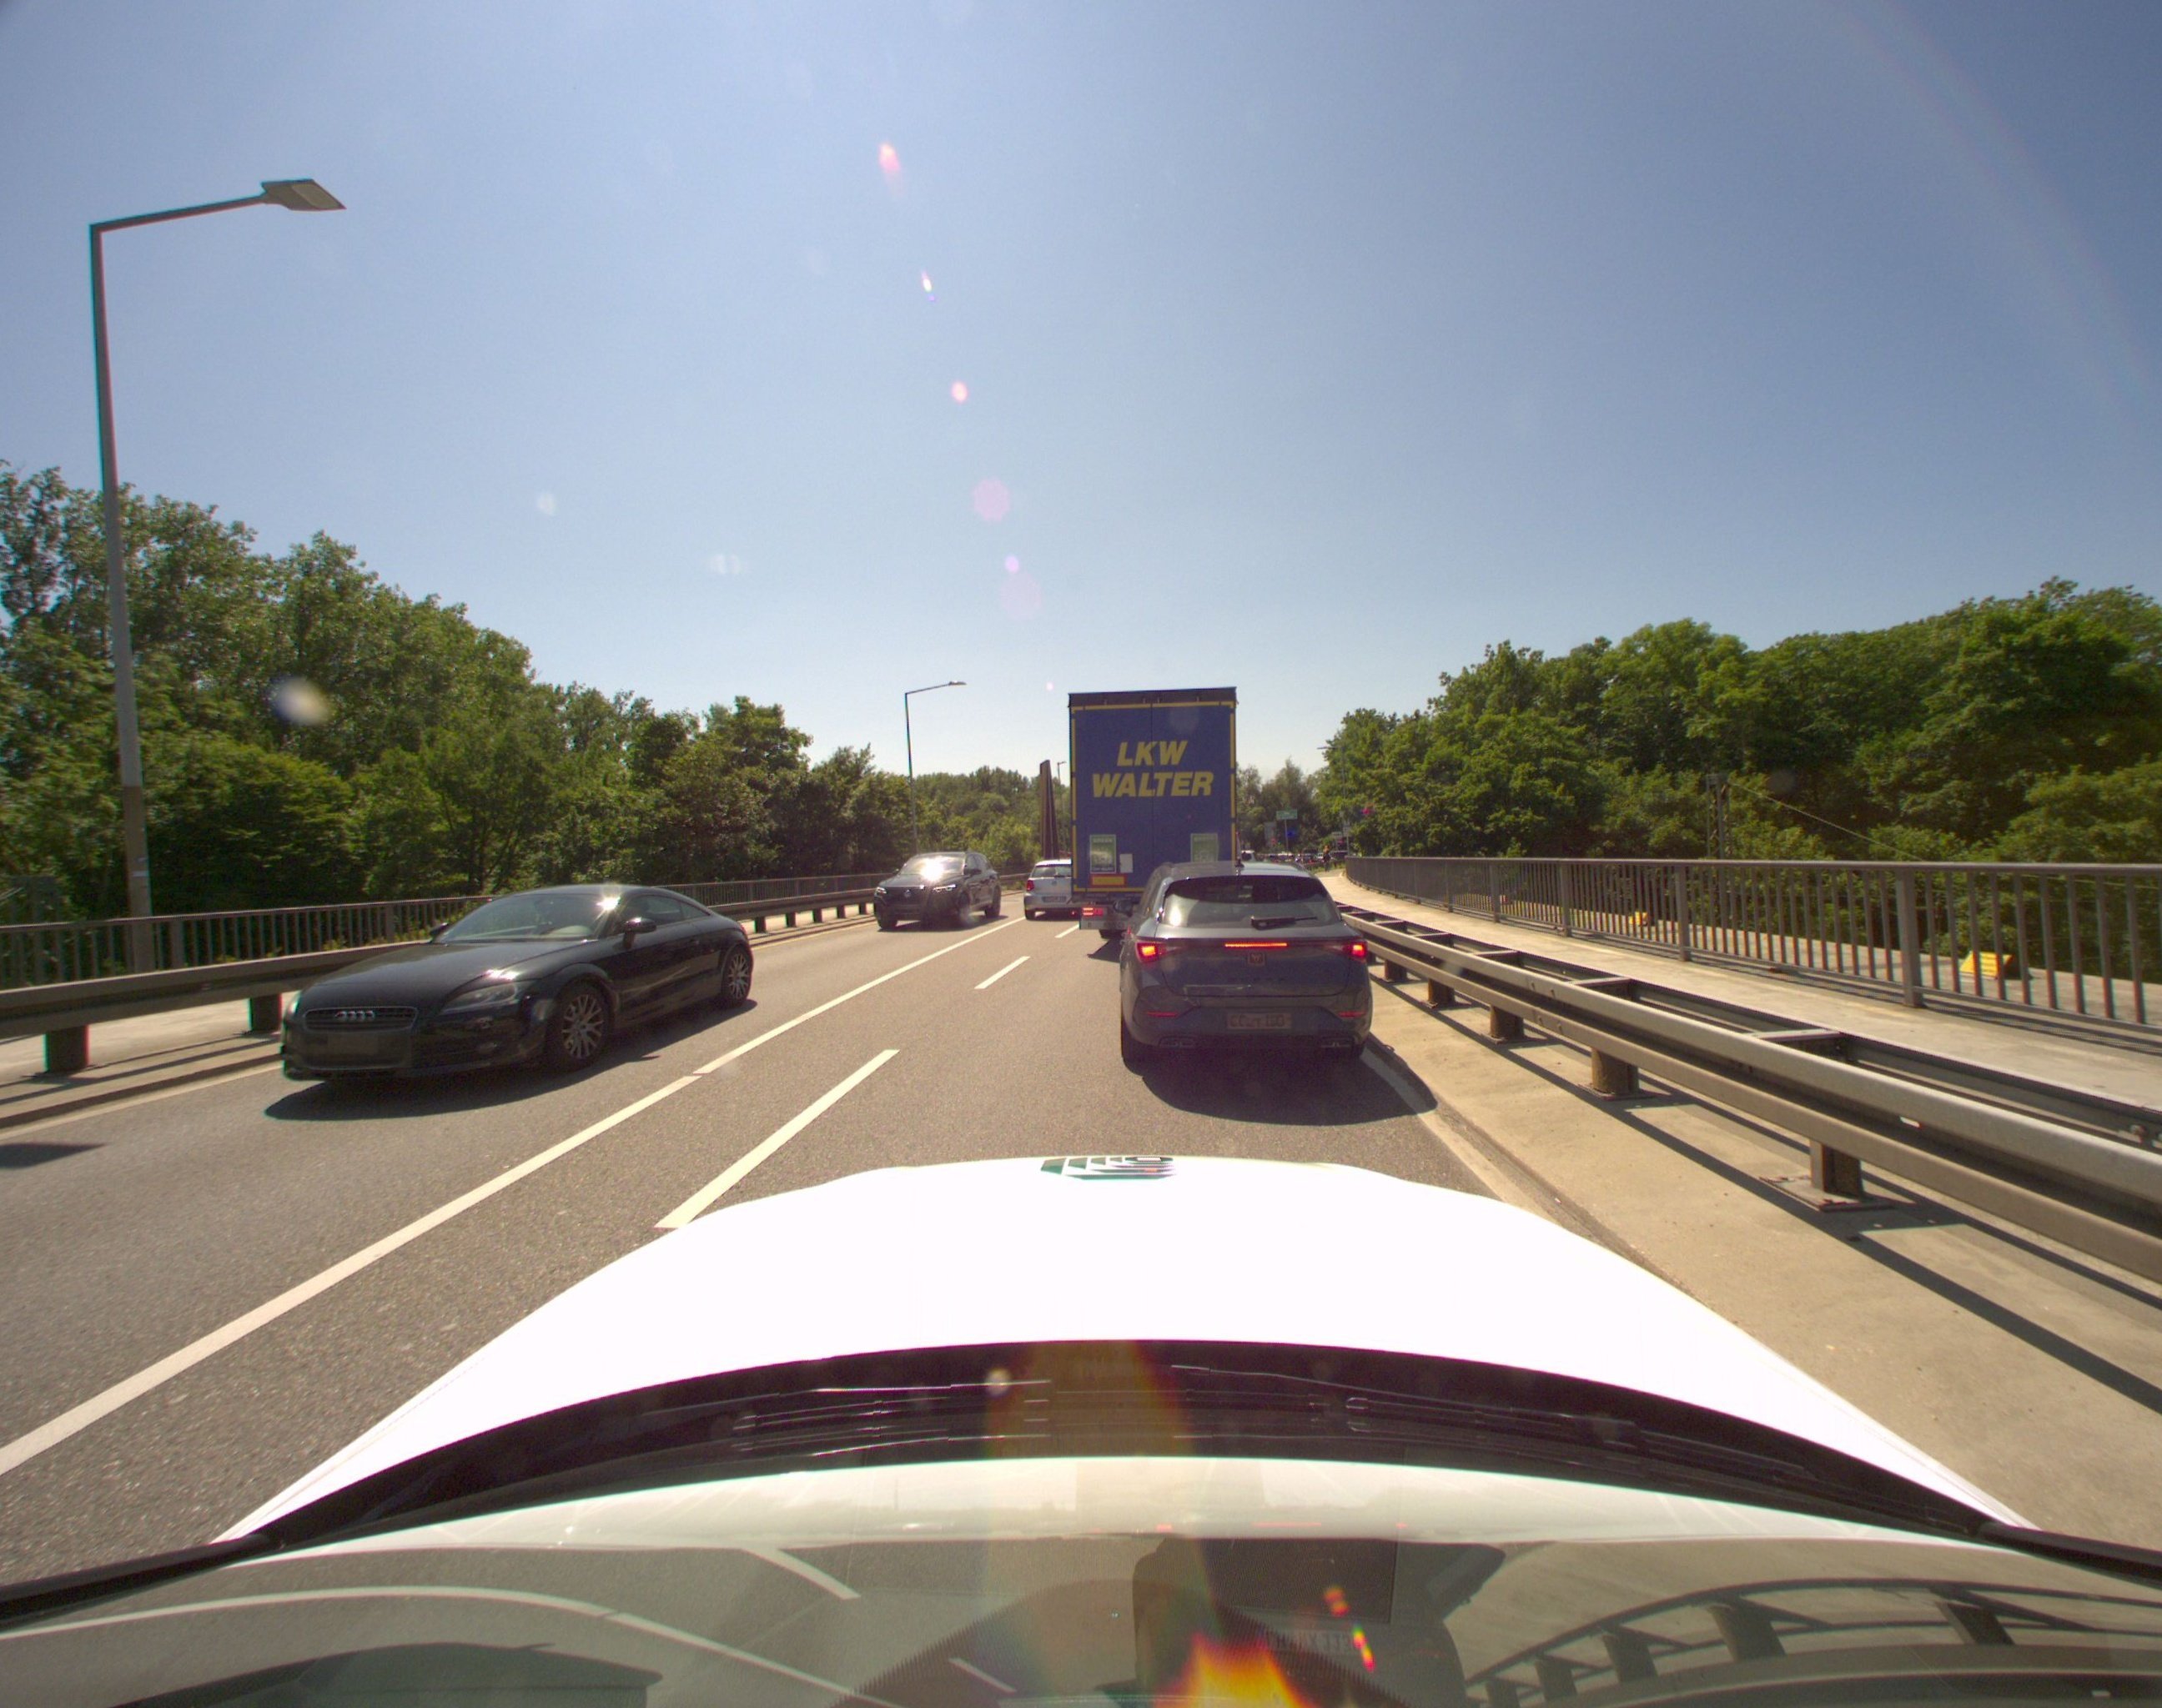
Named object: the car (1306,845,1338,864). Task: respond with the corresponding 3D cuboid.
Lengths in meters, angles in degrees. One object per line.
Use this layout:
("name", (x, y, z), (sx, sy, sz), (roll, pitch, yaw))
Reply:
("car", (22.141, 0.068, 74.831), (1.975, 1.575, 4.024), (0, -1, 29))

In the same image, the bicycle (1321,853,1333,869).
("bicycle", (16.850, 0.491, 55.782), (0.578, 1.035, 1.490), (-4, -1, 12))

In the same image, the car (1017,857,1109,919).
("car", (-0.367, 0.823, 21.298), (1.667, 1.411, 3.985), (-2, 0, 9))

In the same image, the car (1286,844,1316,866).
("car", (18.574, 0.086, 68.644), (1.670, 1.760, 4.023), (-1, -1, 26))

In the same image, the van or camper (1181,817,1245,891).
("van or camper", (5.704, -0.002, 34.426), (2.139, 2.815, 6.410), (-1, 0, 13))

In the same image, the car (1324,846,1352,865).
("car", (25.466, 0.140, 80.670), (1.669, 1.760, 4.025), (-2, -1, 31))

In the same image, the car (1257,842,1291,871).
("car", (13.354, 0.145, 56.147), (1.706, 1.844, 4.021), (-1, 0, 21))

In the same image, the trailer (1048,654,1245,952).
("trailer", (1.971, -0.761, 18.453), (2.887, 4.418, 12.465), (-1, 0, 9))

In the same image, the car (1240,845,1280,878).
("car", (10.602, 0.412, 48.114), (1.706, 1.802, 4.020), (-1, 0, 20))

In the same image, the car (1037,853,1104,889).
("car", (-0.395, 0.737, 37.182), (1.697, 1.469, 4.480), (-2, 0, 17))

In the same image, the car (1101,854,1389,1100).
("car", (1.158, 0.747, 6.853), (1.669, 1.456, 3.964), (-1, 0, 5))

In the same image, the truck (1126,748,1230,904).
("truck", (3.328, -0.789, 26.559), (2.887, 4.418, 6.573), (-1, 0, 10))

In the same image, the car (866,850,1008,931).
("car", (-3.274, 0.772, 19.609), (1.955, 1.673, 4.624), (-2, 0, 8))

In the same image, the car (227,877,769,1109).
("car", (-4.427, 0.934, 7.089), (1.671, 1.308, 3.976), (-1, 0, 3))

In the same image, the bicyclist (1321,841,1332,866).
("bicyclist", (16.803, -0.049, 55.739), (0.574, 1.683, 0.731), (-4, -1, 12))

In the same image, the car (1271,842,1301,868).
("car", (15.646, 0.066, 62.052), (1.706, 1.844, 4.021), (-1, 0, 21))

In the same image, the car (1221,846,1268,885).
("car", (8.394, 0.571, 41.643), (1.706, 1.844, 4.020), (-1, 0, 20))
